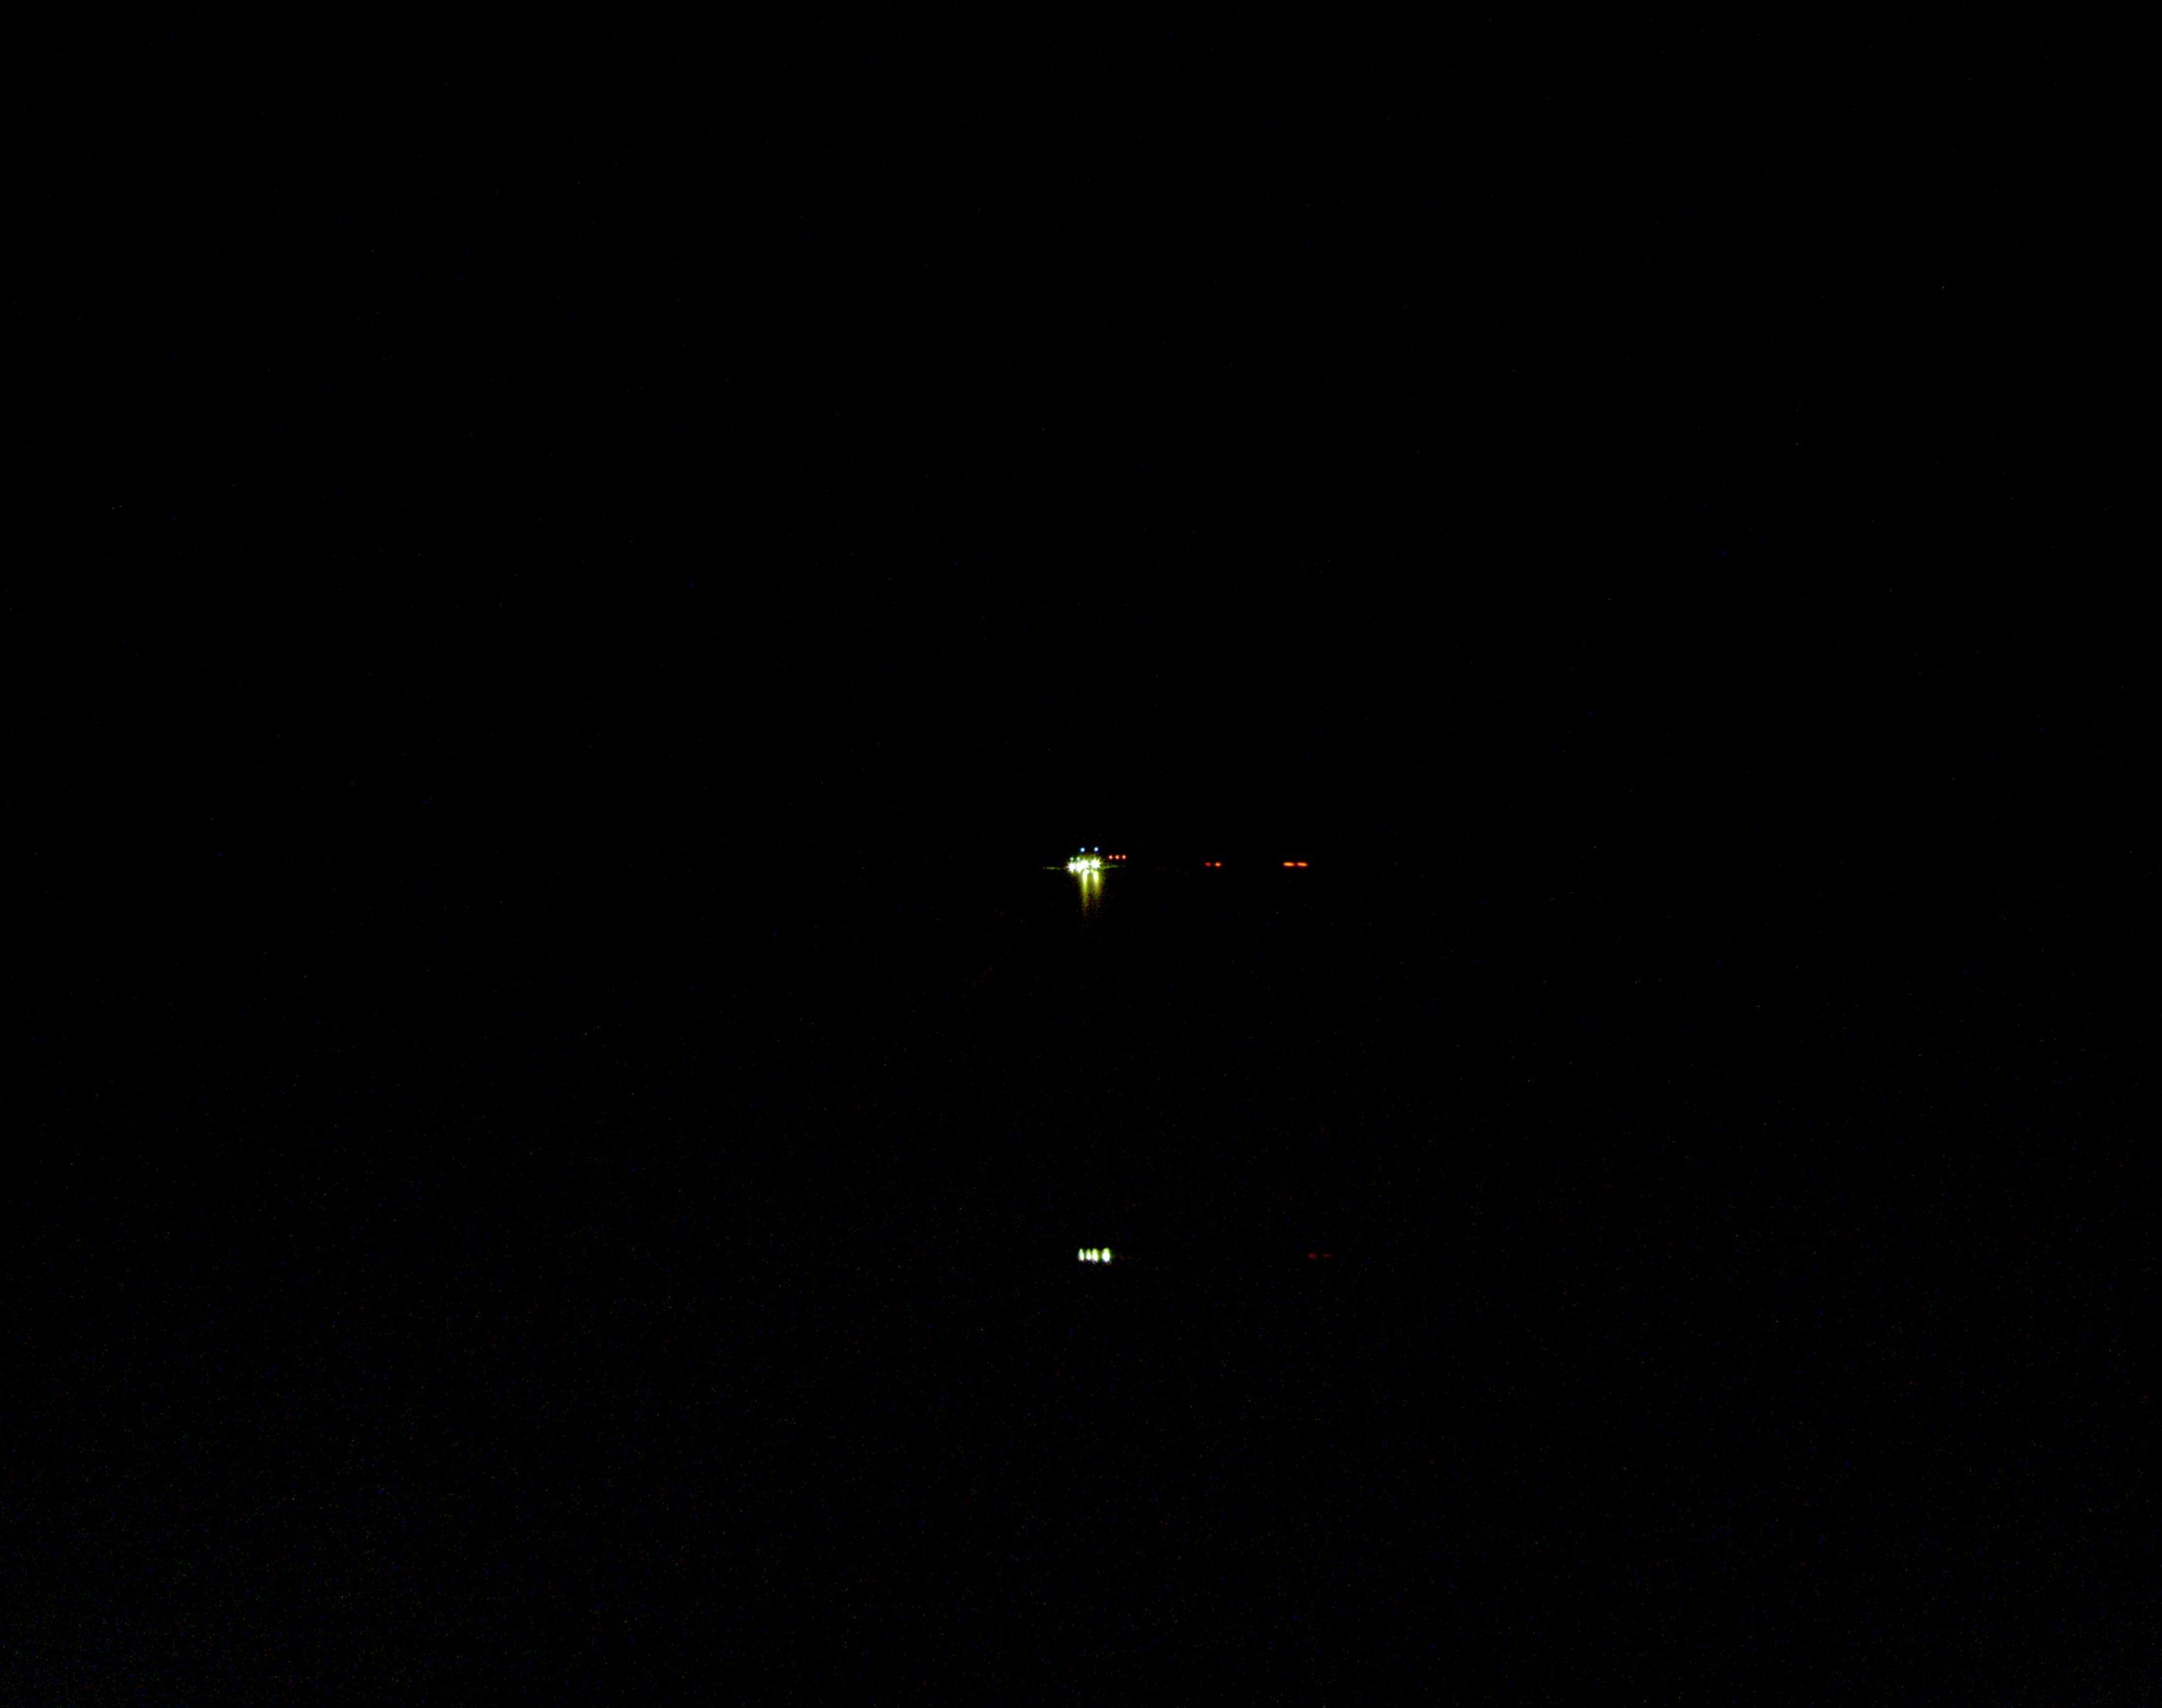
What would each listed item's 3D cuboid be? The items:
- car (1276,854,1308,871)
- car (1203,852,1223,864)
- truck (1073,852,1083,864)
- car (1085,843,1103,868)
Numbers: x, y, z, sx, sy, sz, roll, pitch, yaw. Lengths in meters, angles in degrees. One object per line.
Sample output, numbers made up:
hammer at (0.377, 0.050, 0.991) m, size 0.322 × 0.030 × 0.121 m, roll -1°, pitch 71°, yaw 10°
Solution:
car at (20.848, 0.808, 75.186) m, size 1.908 × 1.611 × 4.656 m, roll -1°, pitch 0°, yaw 1°
car at (17.734, 0.513, 101.990) m, size 1.908 × 1.462 × 4.656 m, roll -1°, pitch 0°, yaw 1°
truck at (-0.834, 1.231, 233.097) m, size 3.042 × 3.726 × 7.560 m, roll -1°, pitch 0°, yaw 1°
car at (1.738, 0.226, 103.006) m, size 2.255 × 3.205 × 6.878 m, roll -2°, pitch 0°, yaw 1°
